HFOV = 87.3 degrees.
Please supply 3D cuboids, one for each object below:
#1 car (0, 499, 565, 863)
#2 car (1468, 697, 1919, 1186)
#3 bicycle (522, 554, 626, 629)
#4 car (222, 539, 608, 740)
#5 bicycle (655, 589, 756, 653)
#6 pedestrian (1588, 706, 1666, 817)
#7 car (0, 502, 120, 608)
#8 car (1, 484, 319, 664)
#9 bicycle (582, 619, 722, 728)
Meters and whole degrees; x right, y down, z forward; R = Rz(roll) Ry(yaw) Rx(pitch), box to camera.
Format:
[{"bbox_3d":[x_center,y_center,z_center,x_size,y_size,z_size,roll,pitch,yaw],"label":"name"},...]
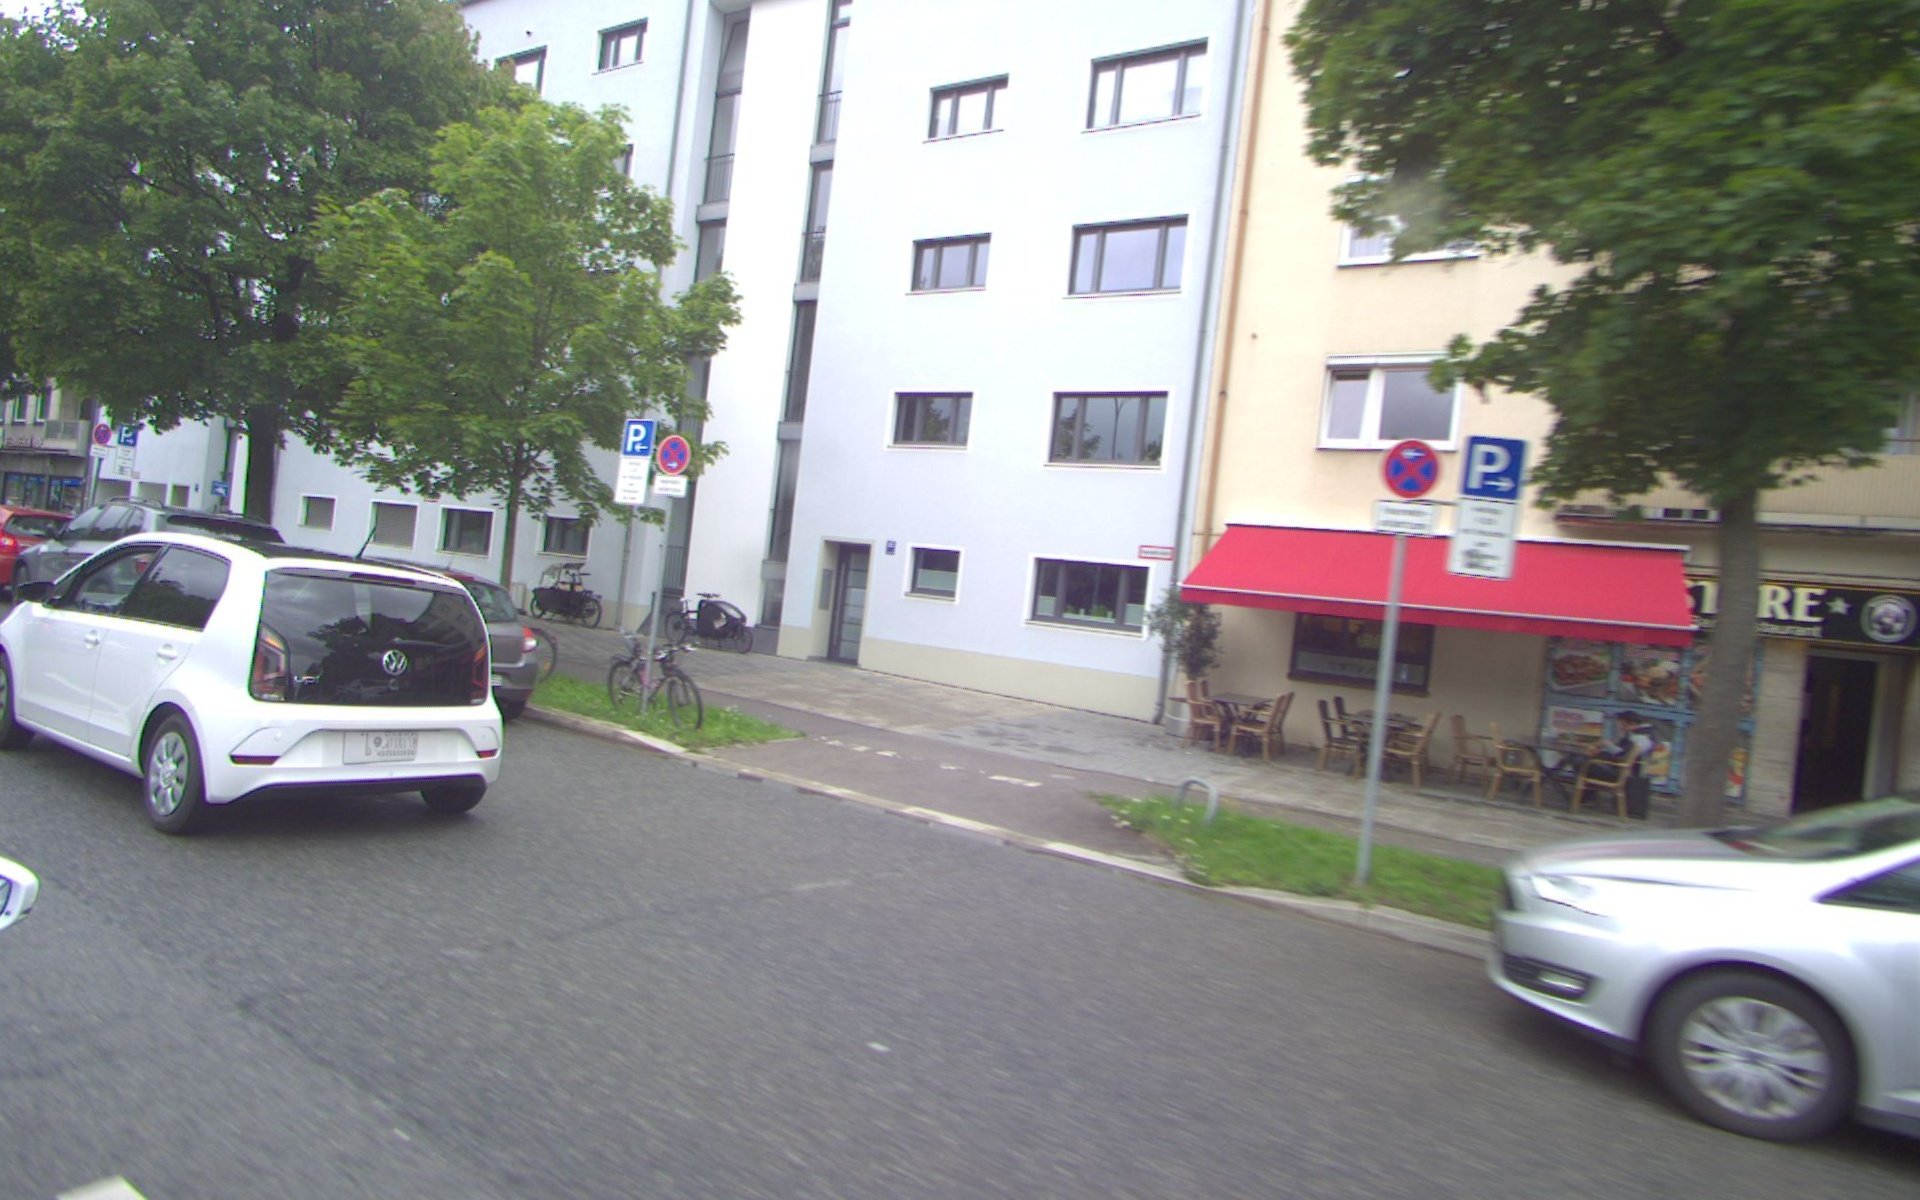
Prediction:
[{"bbox_3d":[-4.319,0.344,6.137,3.376,1.508,1.690,7,-1,30],"label":"car"},{"bbox_3d":[4.627,1.485,4.027,4.446,1.540,1.833,7,-1,29],"label":"car"},{"bbox_3d":[-8.788,-0.207,22.853,2.550,1.426,0.703,7,2,32],"label":"bicycle"},{"bbox_3d":[-5.814,0.374,10.690,3.707,1.540,1.833,7,-1,30],"label":"car"},{"bbox_3d":[-5.195,0.403,20.457,2.159,1.061,0.621,7,4,32],"label":"bicycle"},{"bbox_3d":[8.063,1.926,12.193,0.636,1.178,0.744,7,2,31],"label":"pedestrian"},{"bbox_3d":[-15.647,-0.849,16.508,3.932,1.458,1.524,7,-1,30],"label":"car"},{"bbox_3d":[-10.305,-0.379,12.856,4.436,1.767,1.831,7,-1,34],"label":"car"},{"bbox_3d":[-3.402,0.783,11.043,1.647,0.958,0.386,7,0,32],"label":"bicycle"}]
